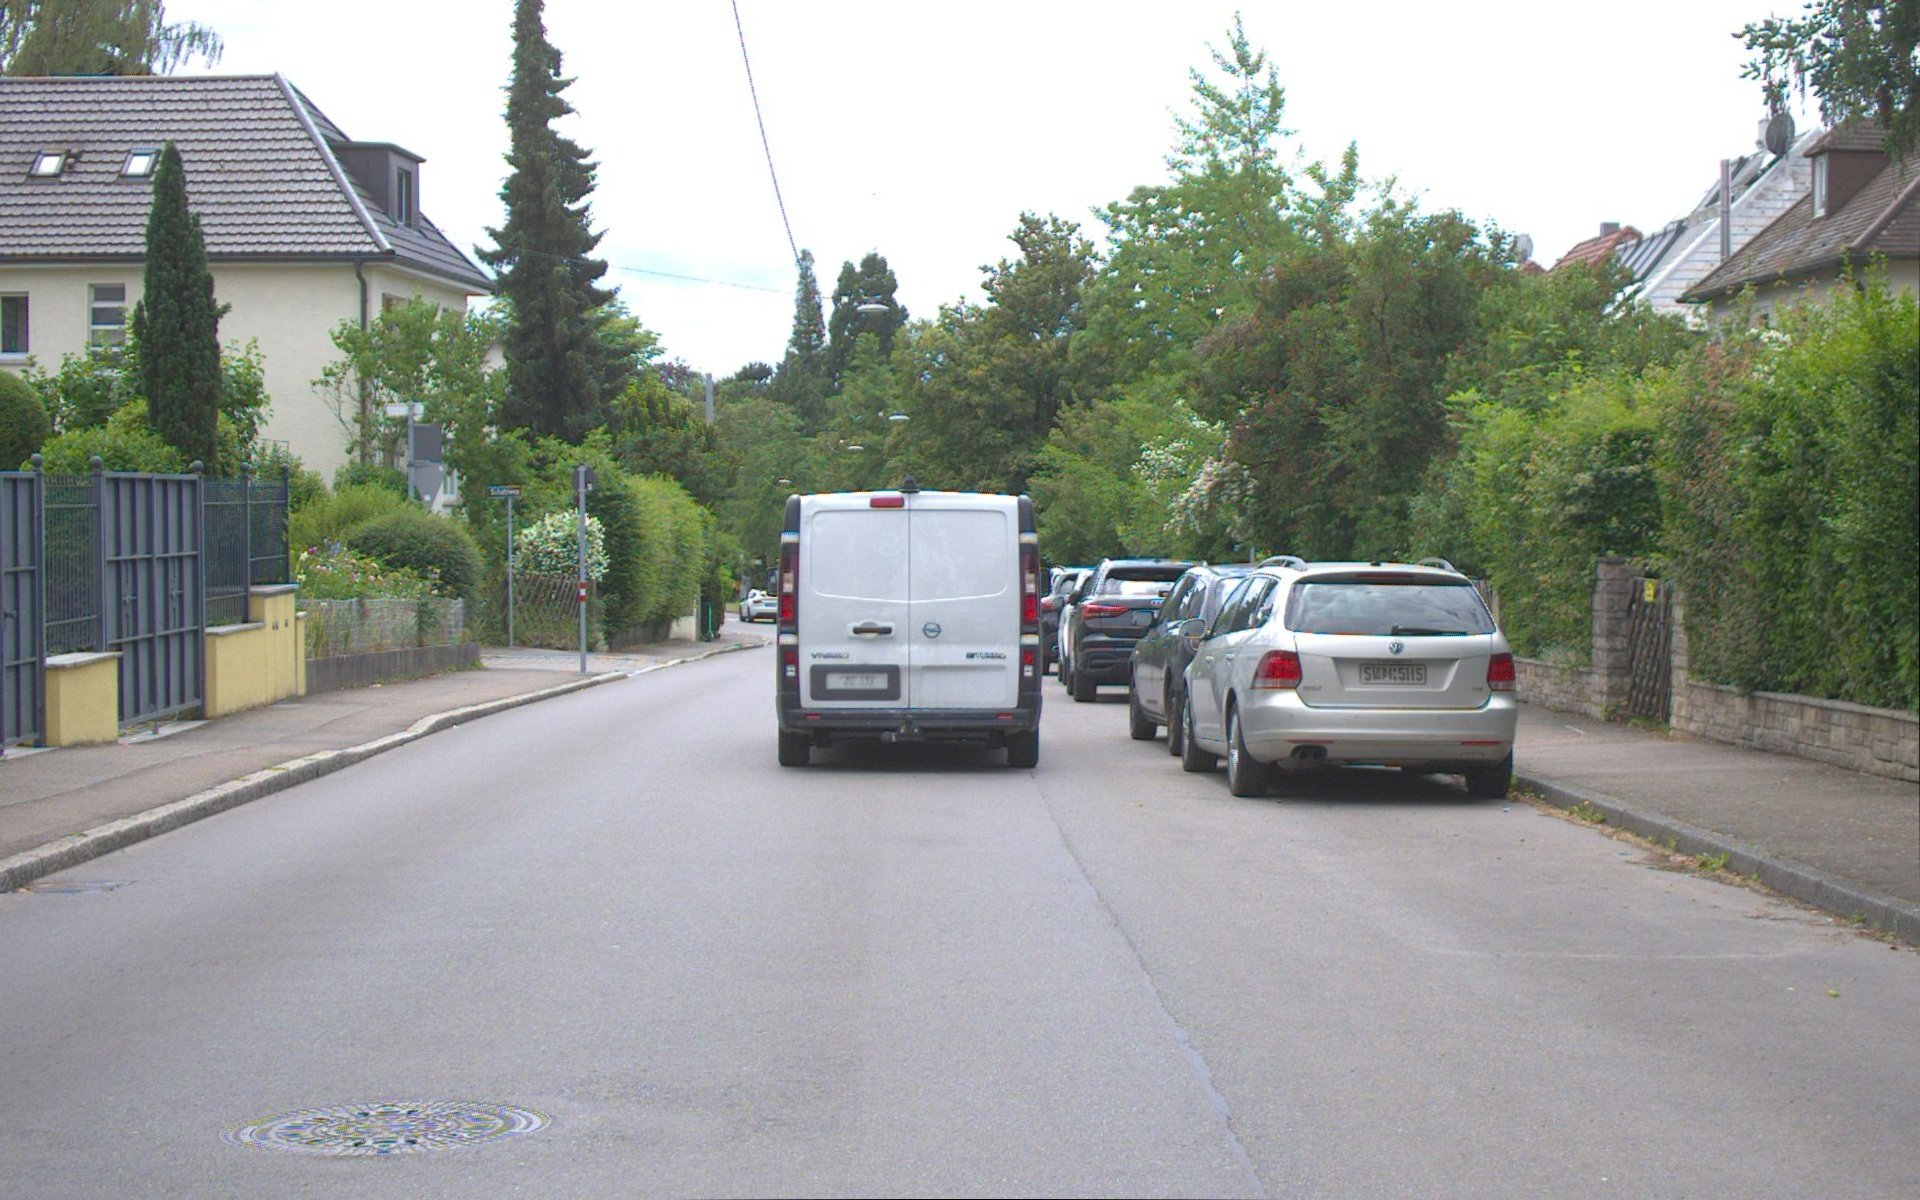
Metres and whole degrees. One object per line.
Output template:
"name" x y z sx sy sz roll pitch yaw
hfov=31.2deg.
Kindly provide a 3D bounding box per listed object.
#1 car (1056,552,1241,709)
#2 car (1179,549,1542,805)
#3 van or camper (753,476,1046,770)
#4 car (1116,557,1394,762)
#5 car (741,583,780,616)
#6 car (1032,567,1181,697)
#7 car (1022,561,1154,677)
"car" 2.079 0.294 38.910 1.744 1.624 4.260 0 1 -1
"car" 2.481 0.419 22.234 1.744 1.442 4.260 0 1 -1
"van or camper" -0.467 0.126 25.633 1.939 1.947 4.765 1 1 -1
"car" 2.273 0.412 27.462 1.744 1.442 4.260 0 1 -1
"car" -9.667 -0.028 166.964 1.744 1.520 4.012 0 1 -1
"car" 1.955 0.397 46.992 1.744 1.624 4.260 0 1 -1
"car" 1.909 0.260 52.428 1.744 1.624 4.260 0 1 -1
